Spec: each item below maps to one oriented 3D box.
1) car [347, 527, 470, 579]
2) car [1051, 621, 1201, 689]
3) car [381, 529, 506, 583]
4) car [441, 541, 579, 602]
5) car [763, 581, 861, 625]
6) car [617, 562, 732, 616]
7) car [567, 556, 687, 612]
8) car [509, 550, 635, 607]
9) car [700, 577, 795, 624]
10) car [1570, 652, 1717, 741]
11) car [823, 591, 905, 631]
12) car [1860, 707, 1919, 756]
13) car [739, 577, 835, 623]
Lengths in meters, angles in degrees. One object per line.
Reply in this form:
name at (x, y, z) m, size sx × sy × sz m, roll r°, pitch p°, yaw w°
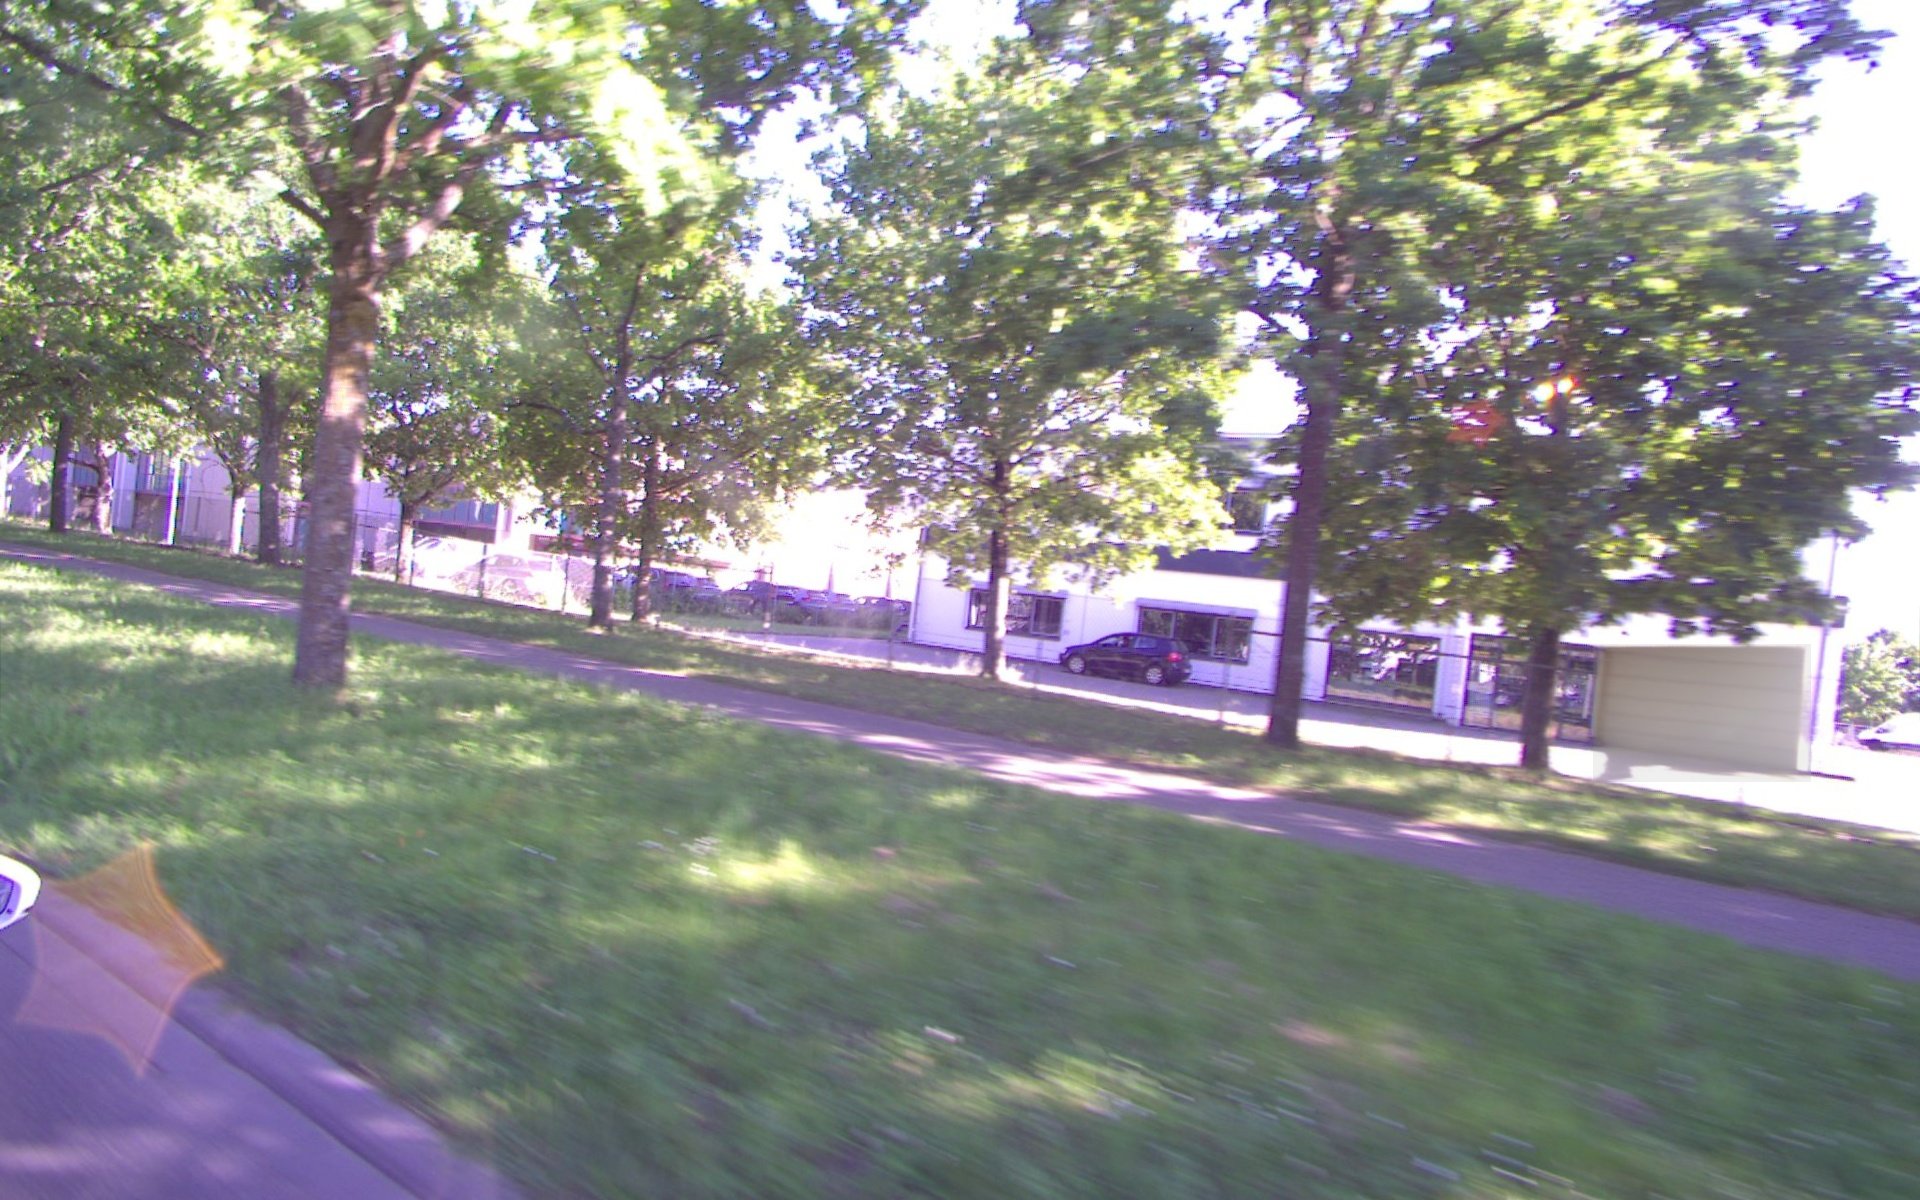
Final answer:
car at (-26.957, -2.279, 49.347) m, size 1.964 × 1.907 × 4.960 m, roll 7°, pitch 0°, yaw 25°
car at (5.065, 1.667, 30.867) m, size 4.090 × 1.523 × 1.719 m, roll 6°, pitch -2°, yaw 32°
car at (-24.401, -2.044, 47.742) m, size 1.861 × 1.984 × 5.074 m, roll 7°, pitch 0°, yaw 25°
car at (-16.189, -1.028, 36.172) m, size 4.634 × 1.626 × 1.997 m, roll 6°, pitch 0°, yaw 28°
car at (-7.596, 0.143, 51.572) m, size 4.889 × 1.692 × 1.740 m, roll 6°, pitch -2°, yaw 33°
car at (-12.266, -0.475, 43.246) m, size 4.376 × 1.692 × 2.000 m, roll 7°, pitch -2°, yaw 25°
car at (-13.390, -0.641, 40.408) m, size 4.378 × 1.694 × 1.997 m, roll 7°, pitch 0°, yaw 28°
car at (-14.801, -0.817, 38.319) m, size 4.378 × 1.578 × 1.997 m, roll 7°, pitch 0°, yaw 28°
car at (-10.027, -0.007, 47.362) m, size 4.386 × 1.675 × 1.696 m, roll 6°, pitch -2°, yaw 35°
car at (25.393, 3.545, 37.574) m, size 4.113 × 2.665 × 1.996 m, roll 7°, pitch 0°, yaw 30°
car at (-5.343, 0.608, 55.776) m, size 4.278 × 1.692 × 1.739 m, roll 6°, pitch -2°, yaw 36°
car at (62.327, 8.719, 65.579) m, size 1.979 × 2.746 × 4.872 m, roll 8°, pitch -2°, yaw -30°
car at (-8.562, -0.014, 49.529) m, size 4.645 × 1.692 × 1.703 m, roll 6°, pitch -2°, yaw 35°
